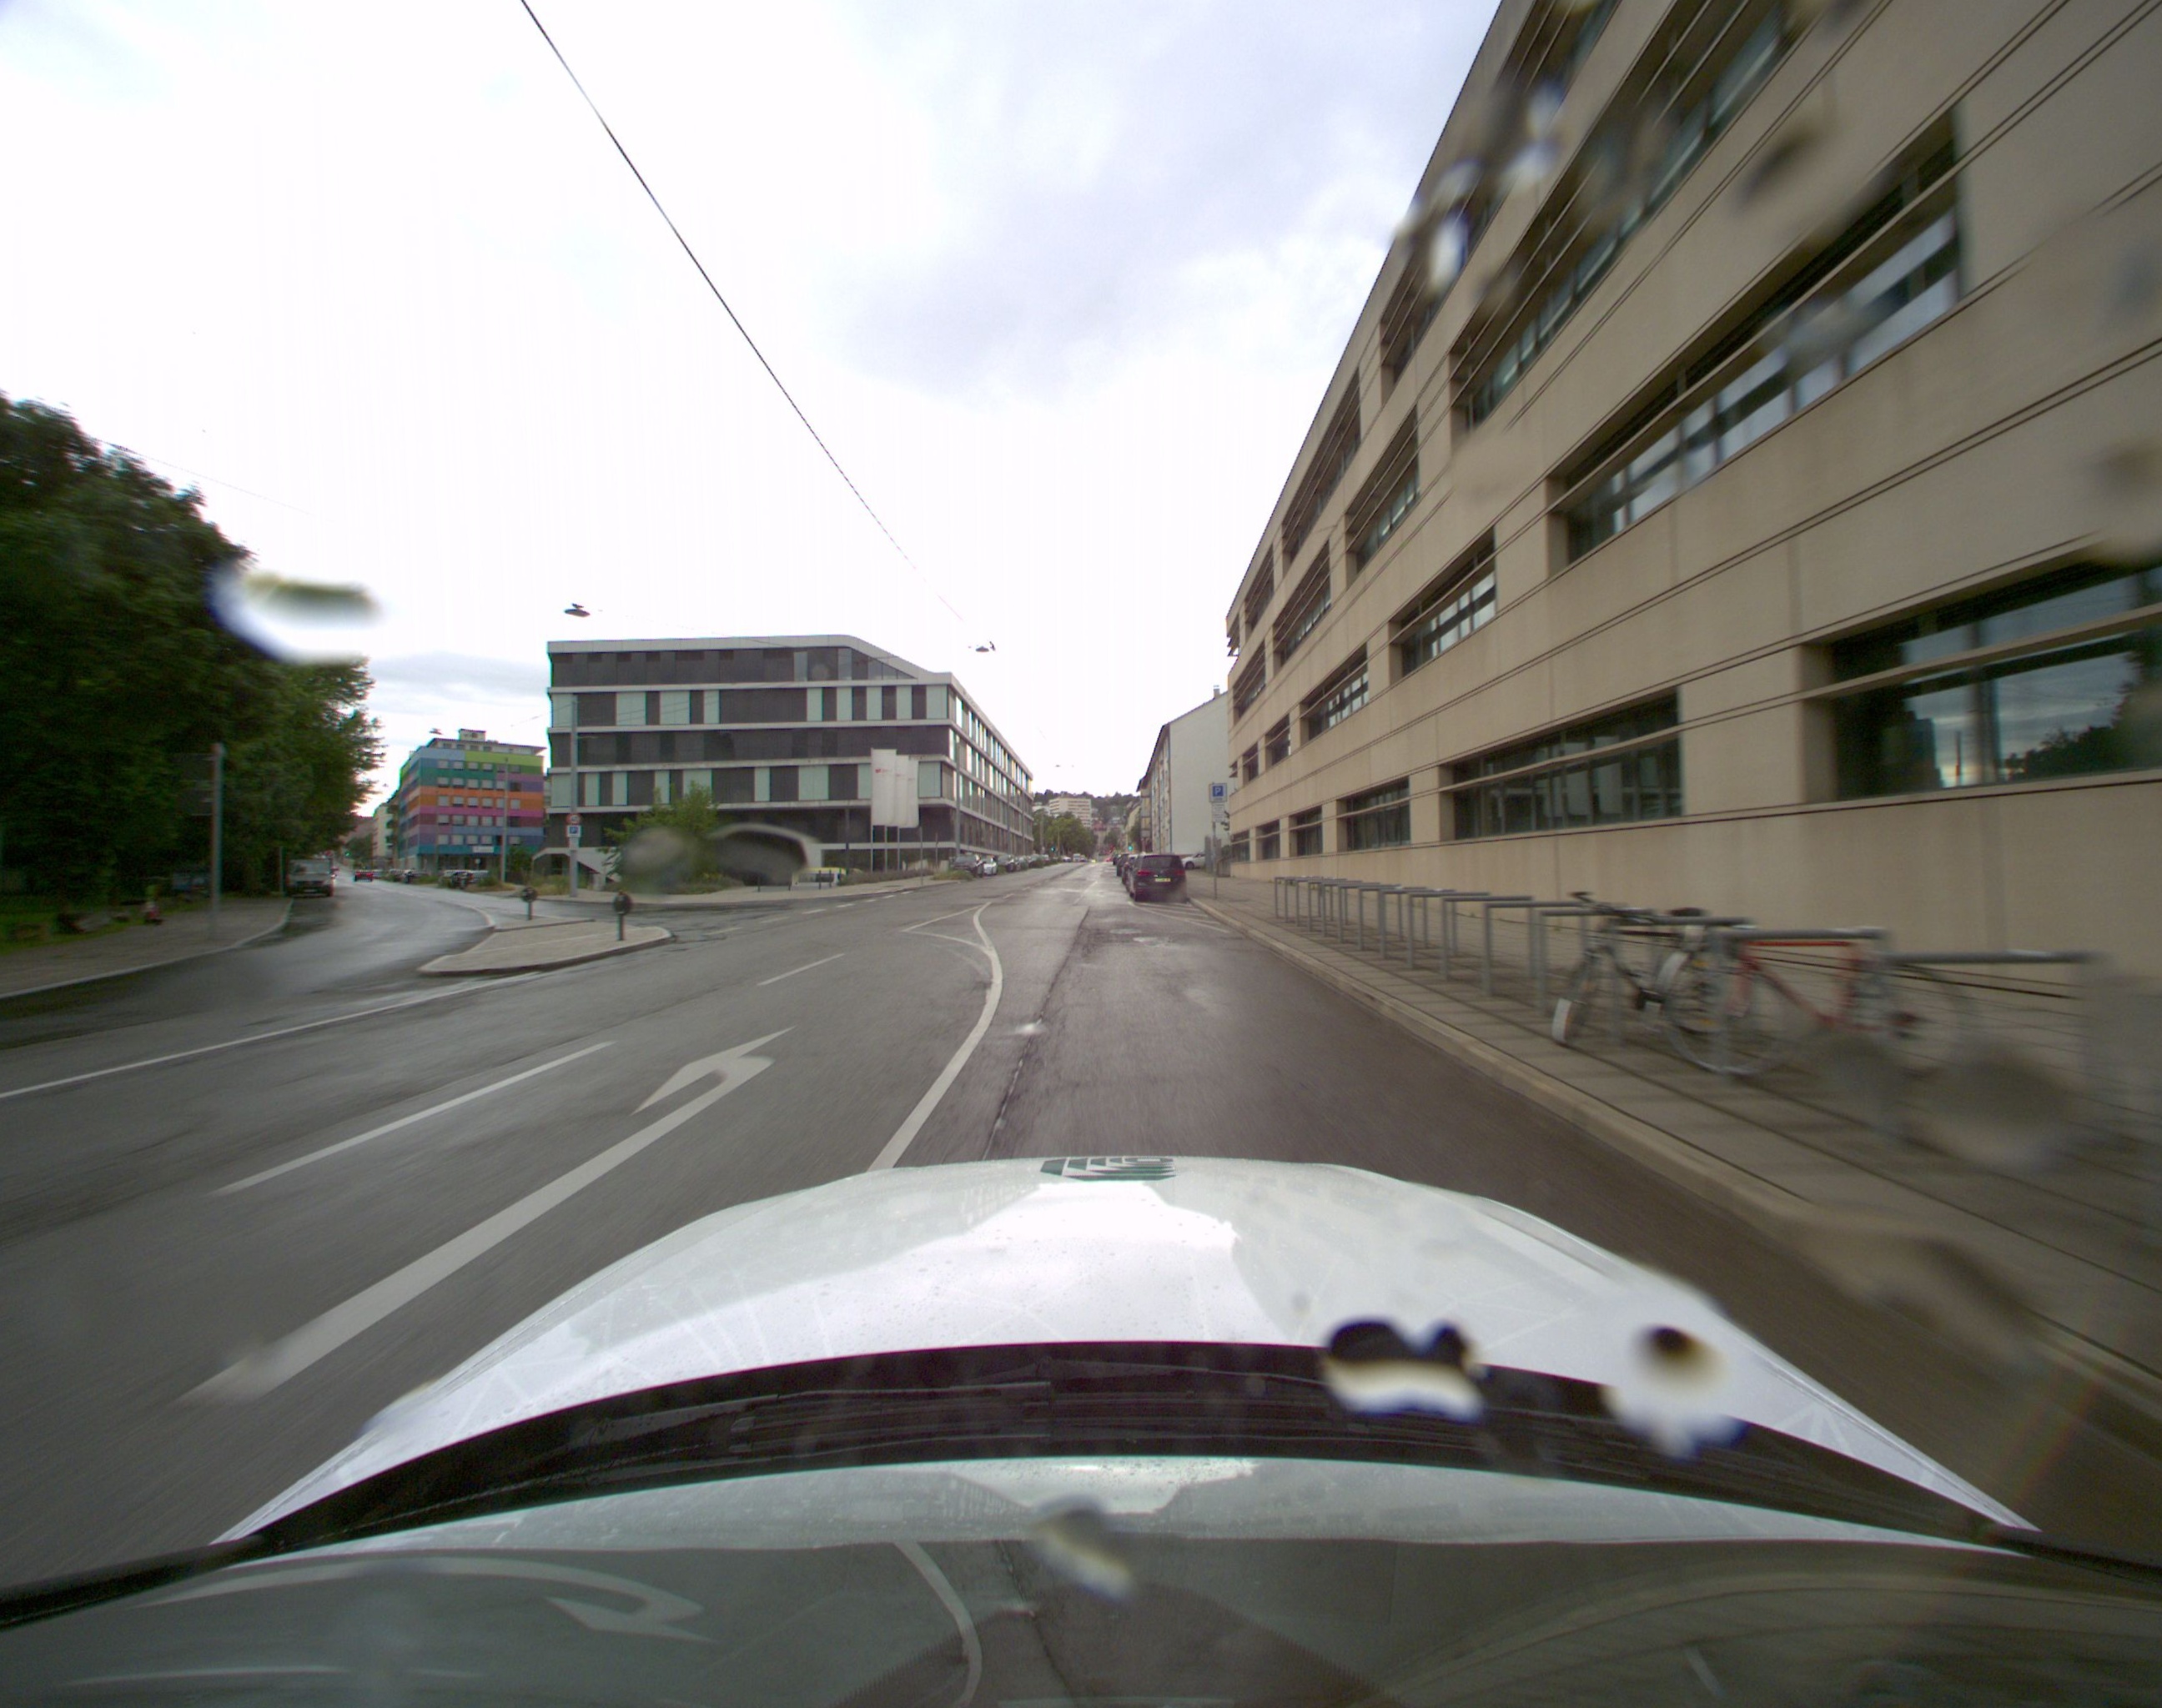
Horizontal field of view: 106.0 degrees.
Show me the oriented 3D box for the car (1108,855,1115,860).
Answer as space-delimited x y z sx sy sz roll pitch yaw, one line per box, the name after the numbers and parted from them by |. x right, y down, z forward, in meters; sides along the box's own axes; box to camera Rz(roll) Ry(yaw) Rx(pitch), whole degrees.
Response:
9.198 1.083 246.387 1.858 1.604 4.195 0 0 5 | car

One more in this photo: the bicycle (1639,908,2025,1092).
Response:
4.484 0.845 4.938 1.754 0.953 0.659 -1 -1 -2 | bicycle

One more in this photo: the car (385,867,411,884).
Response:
-79.945 2.464 95.311 2.011 1.839 3.951 -1 0 -44 | car

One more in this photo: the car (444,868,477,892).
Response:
-49.327 2.028 64.685 1.931 1.739 3.953 0 -1 -40 | car

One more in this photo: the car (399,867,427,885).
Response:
-72.802 2.405 88.717 2.011 1.839 3.951 -1 0 -44 | car

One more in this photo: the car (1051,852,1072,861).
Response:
-3.992 0.580 167.313 4.151 1.669 1.650 -4 -5 41 | car

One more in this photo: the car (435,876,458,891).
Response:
-55.237 2.539 70.924 1.489 1.241 3.361 0 -1 -40 | car

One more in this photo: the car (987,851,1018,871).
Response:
-7.077 0.645 73.915 1.954 1.750 4.947 0 0 4 | car

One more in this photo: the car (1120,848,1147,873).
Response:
3.919 0.478 61.573 1.928 1.750 4.798 0 0 2 | car

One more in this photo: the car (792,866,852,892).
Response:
-22.126 2.128 69.748 4.581 2.174 1.928 0 -1 -4 | car

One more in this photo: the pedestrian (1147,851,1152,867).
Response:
8.104 0.579 96.384 0.636 1.870 0.539 0 -1 3 | pedestrian

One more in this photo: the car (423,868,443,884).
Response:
-65.469 2.241 82.256 1.449 1.494 3.597 -1 0 -40 | car

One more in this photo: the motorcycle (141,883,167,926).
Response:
-24.913 1.338 21.880 1.155 1.125 0.415 -2 -2 39 | motorcycle

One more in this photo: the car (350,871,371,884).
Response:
-96.119 3.089 108.583 2.011 1.660 3.951 0 -1 -43 | car

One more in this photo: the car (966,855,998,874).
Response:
-7.676 0.828 63.776 1.814 1.419 4.404 0 0 2 | car

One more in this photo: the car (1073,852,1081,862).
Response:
-1.138 0.797 224.009 2.098 2.546 4.749 0 0 0 | car

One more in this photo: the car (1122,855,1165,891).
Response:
2.770 0.824 36.908 1.719 1.512 4.058 1 -1 1 | car

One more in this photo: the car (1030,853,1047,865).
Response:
-5.750 0.718 111.236 1.793 1.604 4.239 0 -1 5 | car

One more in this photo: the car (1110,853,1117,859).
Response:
9.571 0.589 238.207 1.858 1.604 4.195 0 0 5 | car

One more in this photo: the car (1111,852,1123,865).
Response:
5.198 0.613 116.508 1.648 1.738 4.181 -1 0 2 | car

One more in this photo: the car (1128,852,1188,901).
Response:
2.650 0.728 28.828 1.765 1.604 4.394 0 0 0 | car

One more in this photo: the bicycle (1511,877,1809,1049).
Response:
4.164 0.754 5.927 1.726 1.119 0.659 -1 -1 -4 | bicycle

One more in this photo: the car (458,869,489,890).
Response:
-45.113 1.877 60.446 1.677 1.450 3.823 0 -1 -40 | car

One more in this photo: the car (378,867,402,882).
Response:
-85.153 2.507 100.338 2.011 1.839 3.951 -1 0 -44 | car

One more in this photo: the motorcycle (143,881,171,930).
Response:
-23.592 1.293 20.797 1.211 1.185 0.415 -1 -1 39 | motorcycle

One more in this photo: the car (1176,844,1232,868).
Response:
10.533 0.195 70.060 4.422 1.712 1.905 -4 0 1 | car

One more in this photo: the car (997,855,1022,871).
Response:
-6.955 0.860 79.865 1.864 1.473 4.743 0 0 2 | car

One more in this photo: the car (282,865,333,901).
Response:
-46.813 1.723 49.363 2.088 2.043 4.228 0 -1 -42 | car

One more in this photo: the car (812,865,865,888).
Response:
-21.929 2.041 73.791 4.326 2.032 1.599 0 -1 1 | car

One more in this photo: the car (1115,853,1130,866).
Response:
4.852 0.651 95.966 1.700 1.454 3.986 0 0 2 | car

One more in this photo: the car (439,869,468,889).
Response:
-52.337 2.059 67.921 1.815 1.588 3.635 0 -1 -40 | car

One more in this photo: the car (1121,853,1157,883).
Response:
3.121 0.741 44.703 1.737 1.533 4.319 0 0 0 | car

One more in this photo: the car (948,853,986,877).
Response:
-7.938 0.775 57.074 1.842 1.617 4.493 0 0 2 | car
